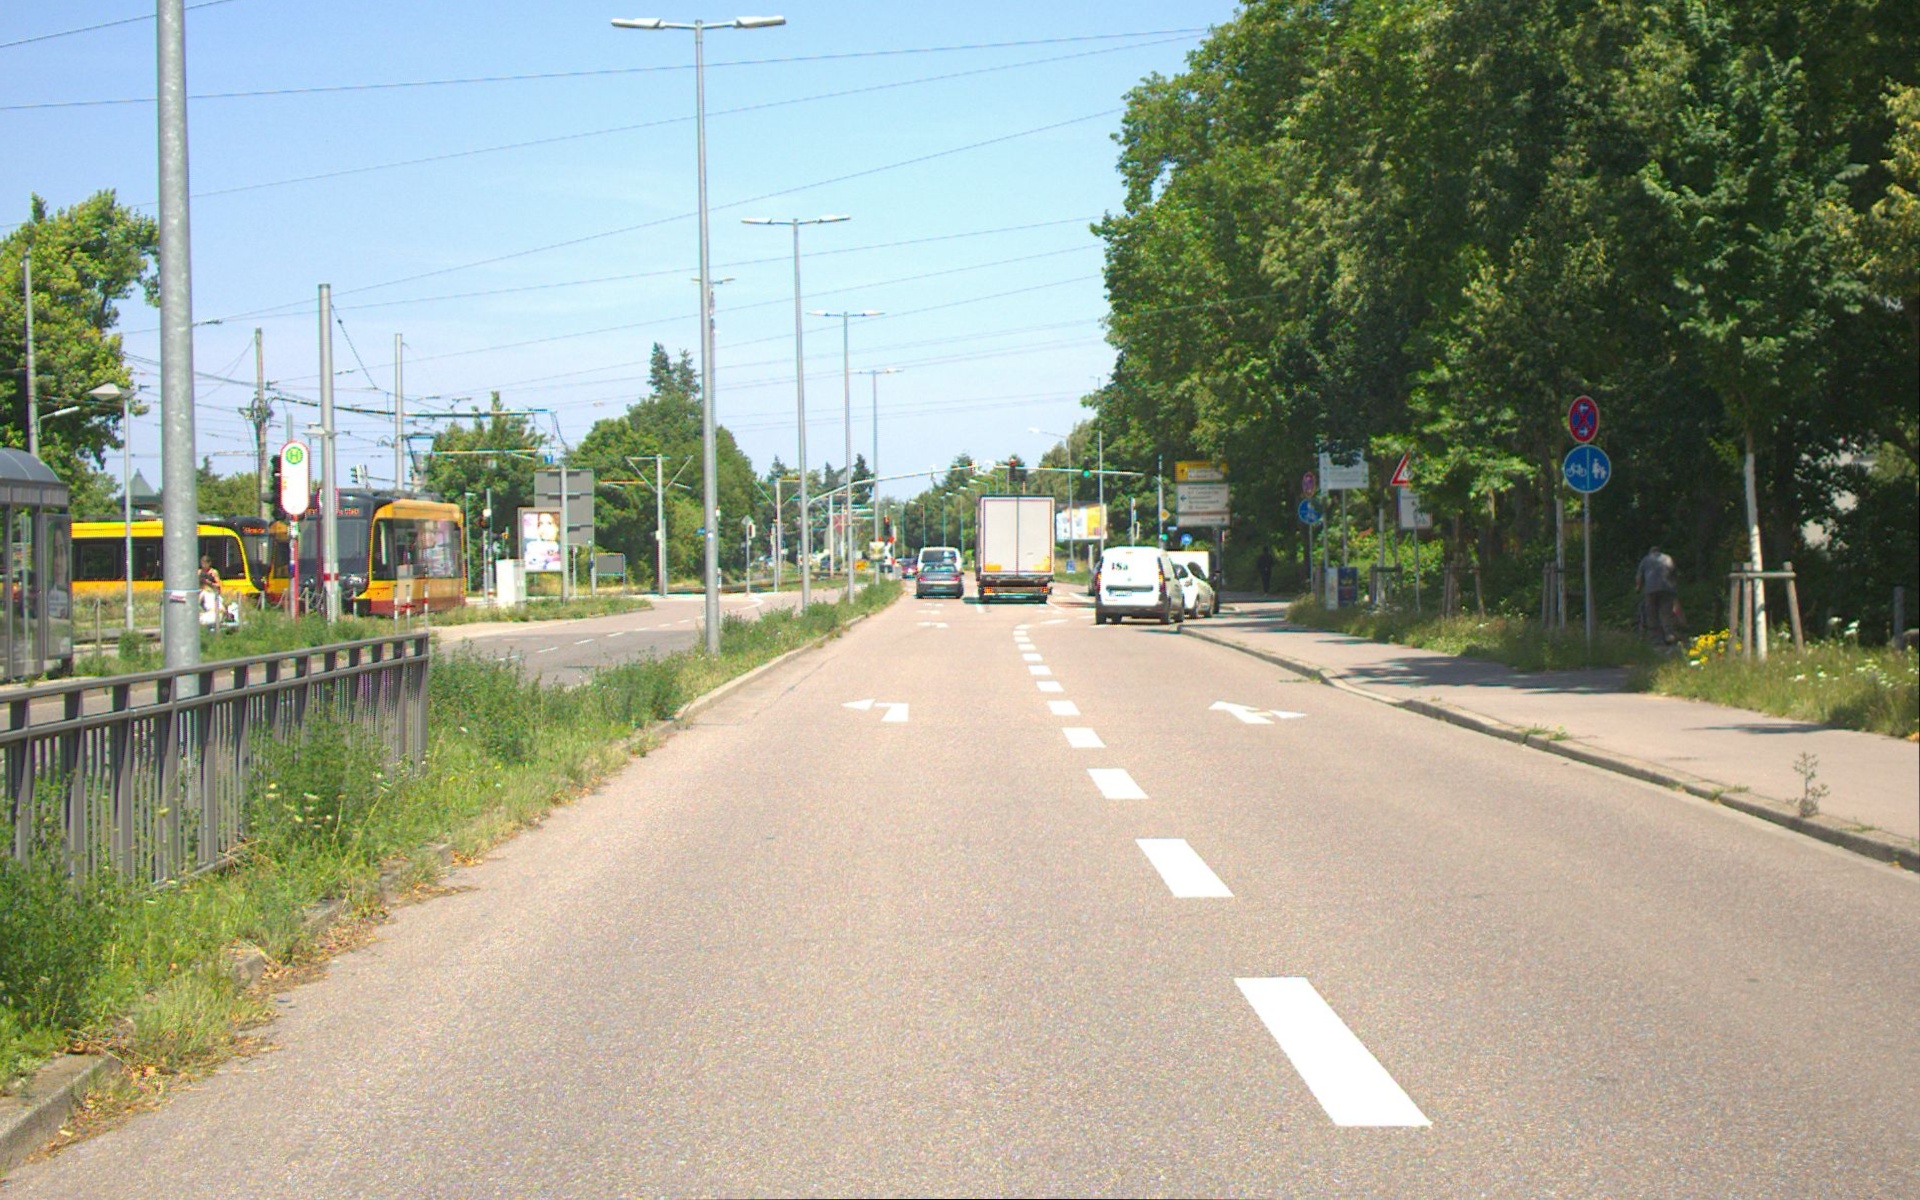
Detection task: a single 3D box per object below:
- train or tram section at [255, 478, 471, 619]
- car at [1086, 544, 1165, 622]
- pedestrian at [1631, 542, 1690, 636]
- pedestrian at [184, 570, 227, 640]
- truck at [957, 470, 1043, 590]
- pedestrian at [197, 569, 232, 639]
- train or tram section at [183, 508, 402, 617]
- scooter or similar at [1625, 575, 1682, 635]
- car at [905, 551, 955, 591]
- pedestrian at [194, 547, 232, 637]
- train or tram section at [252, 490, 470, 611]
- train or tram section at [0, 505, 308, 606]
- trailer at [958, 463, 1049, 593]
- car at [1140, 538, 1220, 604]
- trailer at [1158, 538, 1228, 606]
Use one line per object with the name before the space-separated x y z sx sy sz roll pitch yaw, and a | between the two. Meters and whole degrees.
train or tram section | -15.809 -1.390 92.222 3.036 3.454 13.292 1 1 2
car | 3.841 -0.423 80.358 1.709 1.741 4.427 1 1 1
pedestrian | 10.442 -0.171 51.247 0.708 1.393 0.763 1 1 1
pedestrian | -12.862 0.084 58.617 0.580 1.185 0.536 1 1 2
truck | 1.469 -2.679 130.317 2.827 4.329 8.285 1 1 -2
pedestrian | -12.820 0.070 59.117 0.494 1.185 0.400 1 1 1
train or tram section | -22.405 -1.309 114.562 3.036 3.454 12.751 0 1 -31
scooter or similar | 10.444 0.071 51.812 0.708 0.890 0.763 1 1 1
car | -1.162 -1.135 132.977 1.892 1.367 4.431 2 2 -1
pedestrian | -13.043 -0.143 60.043 0.534 1.560 0.582 1 1 -1
train or tram section | -18.216 -1.523 103.893 3.036 3.454 10.225 0 1 -31
train or tram section | -30.027 -1.643 124.623 12.721 3.454 3.043 1 1 19
trailer | 1.475 -2.530 121.849 2.827 4.406 8.750 1 1 -2
car | 5.743 -0.776 90.090 1.699 1.648 4.399 1 1 -1
trailer | 5.839 -0.720 86.456 1.468 1.663 2.856 1 1 -1
